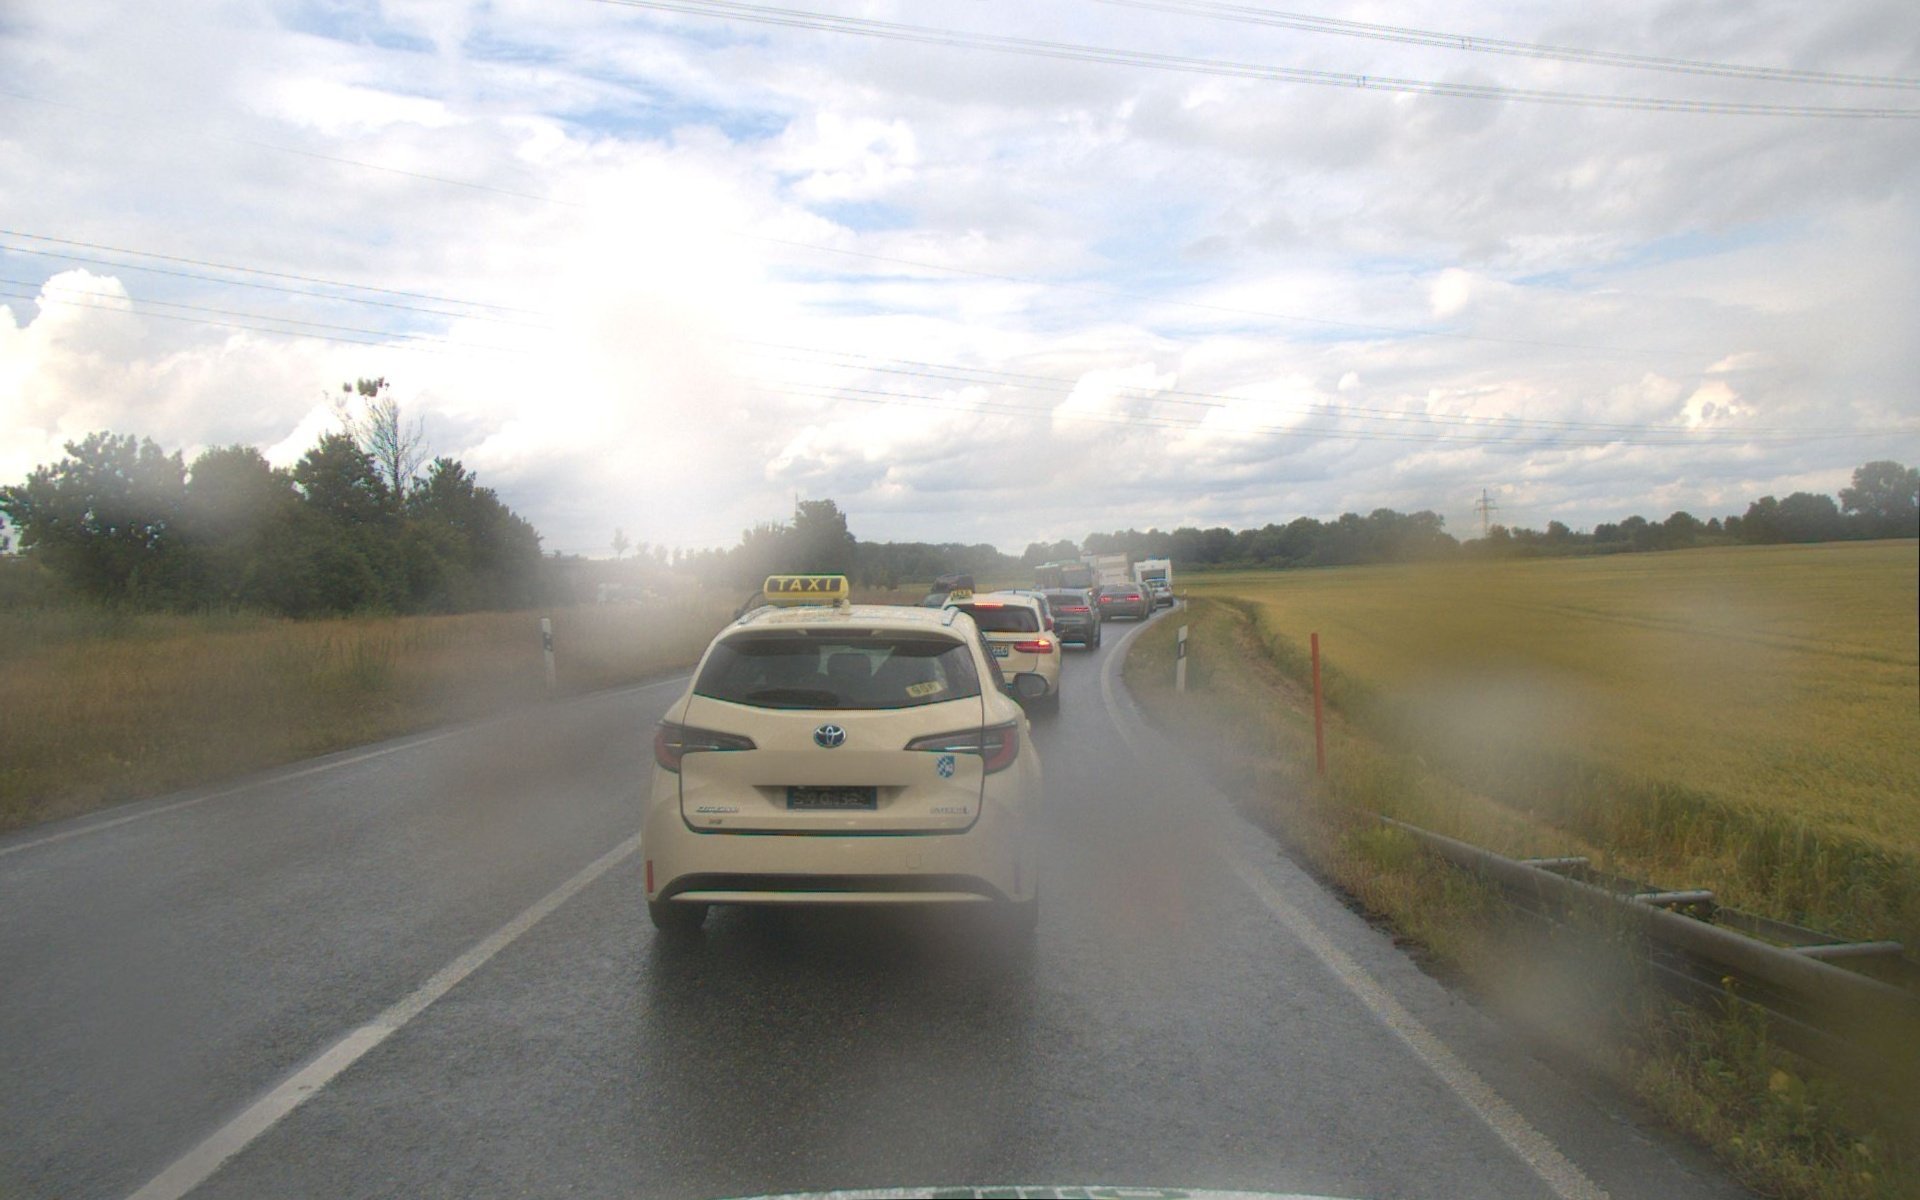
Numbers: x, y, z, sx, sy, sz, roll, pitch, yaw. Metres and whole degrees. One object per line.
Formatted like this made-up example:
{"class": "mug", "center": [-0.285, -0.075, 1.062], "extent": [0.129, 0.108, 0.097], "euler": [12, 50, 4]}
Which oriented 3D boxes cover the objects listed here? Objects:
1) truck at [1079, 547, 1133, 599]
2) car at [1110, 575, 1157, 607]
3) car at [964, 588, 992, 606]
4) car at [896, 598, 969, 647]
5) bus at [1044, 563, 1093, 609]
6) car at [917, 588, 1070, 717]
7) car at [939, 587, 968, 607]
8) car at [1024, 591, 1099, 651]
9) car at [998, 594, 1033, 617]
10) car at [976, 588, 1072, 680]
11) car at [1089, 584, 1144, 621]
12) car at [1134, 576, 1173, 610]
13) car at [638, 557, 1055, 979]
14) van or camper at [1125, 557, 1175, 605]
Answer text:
{"class": "truck", "center": [11.642, -2.134, 132.837], "extent": [3.065, 3.920, 7.378], "euler": [1, -1, -5]}
{"class": "car", "center": [8.261, -0.405, 78.611], "extent": [1.786, 1.438, 3.741], "euler": [0, -1, 13]}
{"class": "car", "center": [1.856, -0.300, 172.427], "extent": [1.811, 1.891, 4.070], "euler": [1, -1, -17]}
{"class": "car", "center": [-0.788, 0.673, 49.835], "extent": [1.595, 1.421, 4.323], "euler": [1, -1, 7]}
{"class": "bus", "center": [8.228, -1.072, 126.661], "extent": [2.702, 3.355, 12.500], "euler": [0, 1, -1]}
{"class": "car", "center": [0.552, 0.608, 22.124], "extent": [1.802, 1.518, 4.610], "euler": [1, 1, 4]}
{"class": "car", "center": [-0.687, -0.272, 171.533], "extent": [1.962, 2.049, 3.981], "euler": [1, -1, -17]}
{"class": "car", "center": [2.624, 0.527, 42.173], "extent": [1.578, 1.438, 3.741], "euler": [1, -1, 9]}
{"class": "car", "center": [4.924, 0.487, 147.184], "extent": [1.960, 2.049, 4.134], "euler": [1, -1, -15]}
{"class": "car", "center": [1.307, 0.644, 32.503], "extent": [1.578, 1.688, 3.741], "euler": [1, -1, 7]}
{"class": "car", "center": [6.328, 0.111, 66.607], "extent": [1.918, 1.438, 4.396], "euler": [1, -1, 9]}
{"class": "car", "center": [10.475, -0.368, 89.483], "extent": [1.918, 1.759, 3.741], "euler": [1, -1, 9]}
{"class": "car", "center": [-0.373, 0.659, 8.200], "extent": [1.579, 1.589, 3.739], "euler": [1, -1, 2]}
{"class": "van or camper", "center": [12.002, -1.200, 104.906], "extent": [2.484, 2.946, 6.744], "euler": [0, 1, 1]}
